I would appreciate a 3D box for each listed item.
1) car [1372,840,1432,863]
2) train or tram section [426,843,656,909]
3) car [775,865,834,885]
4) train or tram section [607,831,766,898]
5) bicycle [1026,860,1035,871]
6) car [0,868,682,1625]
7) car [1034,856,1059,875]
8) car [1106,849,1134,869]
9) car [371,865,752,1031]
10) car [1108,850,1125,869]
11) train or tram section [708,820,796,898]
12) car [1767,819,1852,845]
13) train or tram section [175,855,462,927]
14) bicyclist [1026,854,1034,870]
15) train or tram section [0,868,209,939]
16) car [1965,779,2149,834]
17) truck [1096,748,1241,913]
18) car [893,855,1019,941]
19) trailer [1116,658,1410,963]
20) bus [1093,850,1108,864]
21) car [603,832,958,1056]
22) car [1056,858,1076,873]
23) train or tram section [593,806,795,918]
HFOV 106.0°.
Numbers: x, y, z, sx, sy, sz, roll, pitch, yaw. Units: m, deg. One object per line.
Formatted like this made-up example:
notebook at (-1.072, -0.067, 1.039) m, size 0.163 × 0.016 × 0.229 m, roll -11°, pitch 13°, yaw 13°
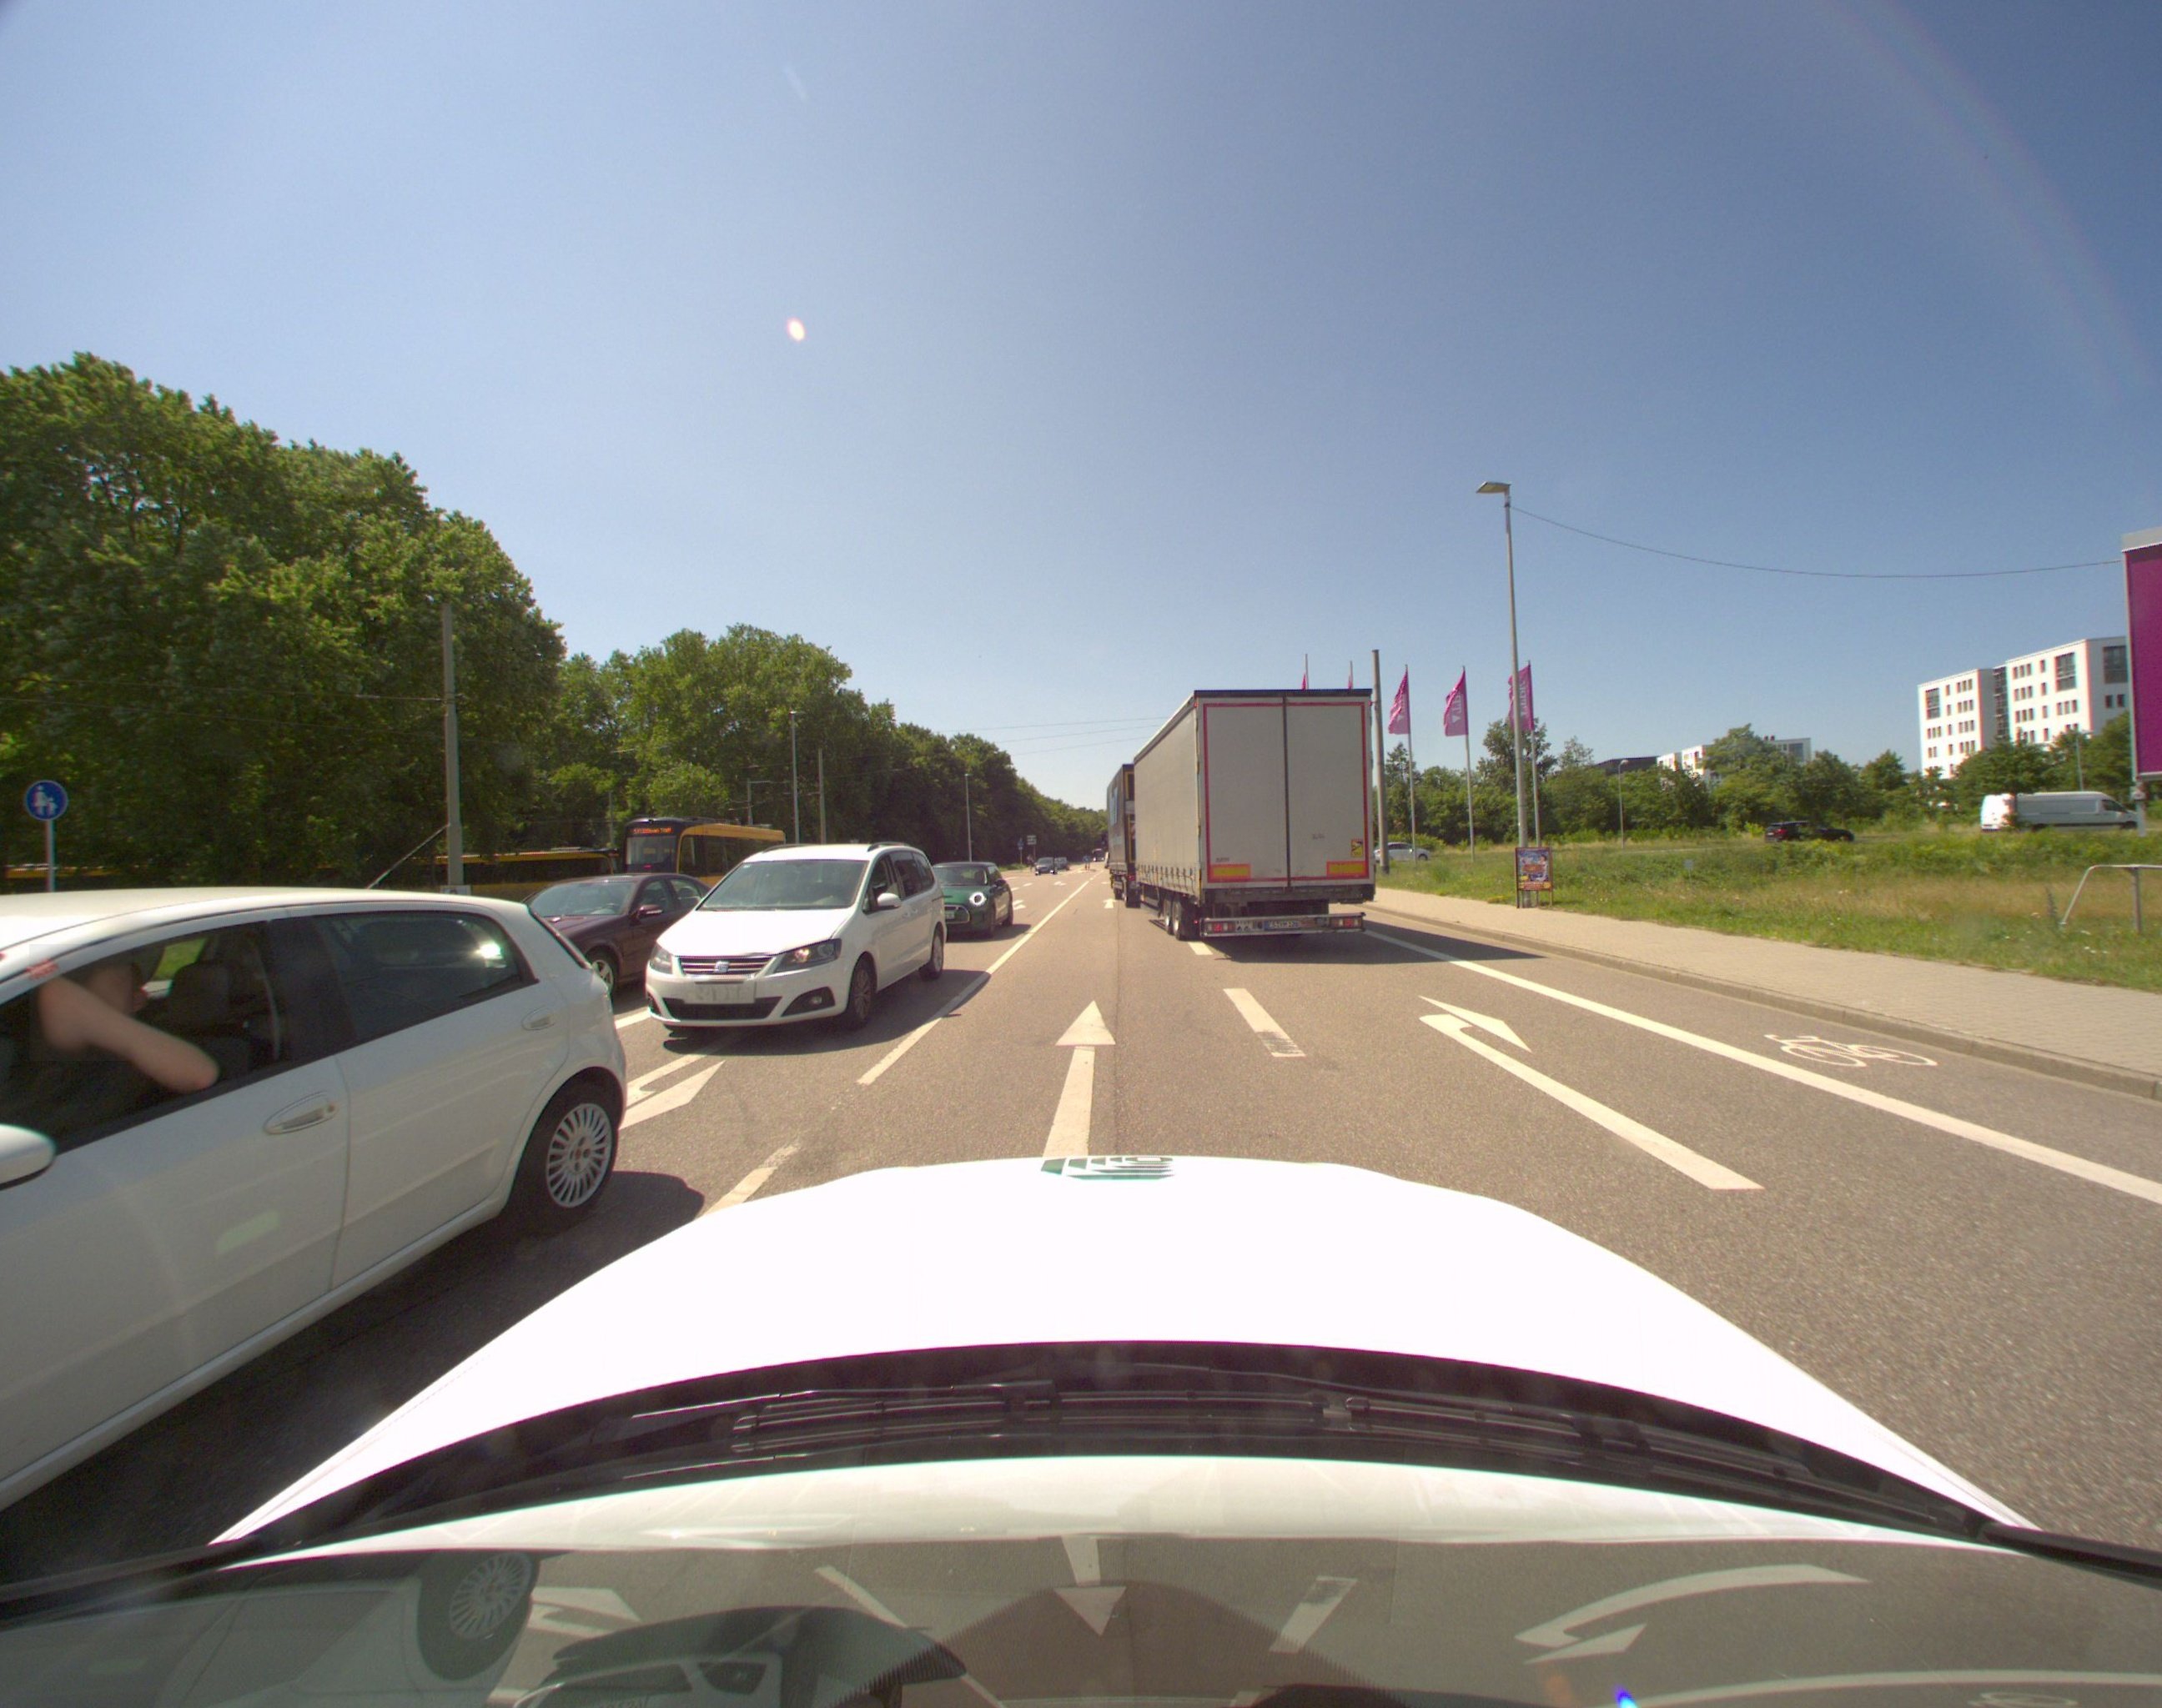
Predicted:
car at (22.009, -0.149, 55.941) m, size 3.591 × 1.533 × 1.712 m, roll -1°, pitch 0°, yaw 12°
train or tram section at (-38.800, 1.537, 58.875) m, size 14.111 × 3.759 × 3.024 m, roll -4°, pitch 0°, yaw -2°
car at (-22.437, 1.687, 66.124) m, size 4.271 × 1.417 × 1.672 m, roll -3°, pitch -2°, yaw 11°
train or tram section at (-26.928, 0.808, 55.038) m, size 13.865 × 3.759 × 3.046 m, roll -3°, pitch 0°, yaw 35°
bicycle at (-5.295, 1.193, 85.250) m, size 0.666 × 1.055 × 2.048 m, roll -1°, pitch 0°, yaw 4°
car at (-2.988, 0.804, 2.181) m, size 1.761 × 1.438 × 3.962 m, roll -1°, pitch 0°, yaw 2°
car at (-2.858, 0.980, 68.183) m, size 1.615 × 1.456 × 3.504 m, roll -4°, pitch 0°, yaw 3°
car at (3.581, 0.440, 74.227) m, size 2.014 × 1.632 × 4.010 m, roll -2°, pitch 0°, yaw 9°
car at (-5.878, 0.937, 9.986) m, size 1.753 × 1.457 × 4.287 m, roll -2°, pitch 0°, yaw 2°
car at (3.961, 0.582, 89.240) m, size 1.648 × 1.907 × 4.005 m, roll -2°, pitch 0°, yaw 4°
train or tram section at (-18.939, 0.385, 46.289) m, size 3.035 × 3.759 × 11.507 m, roll -4°, pitch 0°, yaw -29°
car at (45.307, -1.368, 50.692) m, size 3.595 × 1.533 × 1.710 m, roll -1°, pitch 0°, yaw 8°
train or tram section at (-51.917, 2.403, 56.200) m, size 14.201 × 3.759 × 3.005 m, roll -4°, pitch 0°, yaw -21°
bicyclist at (-5.306, 0.827, 85.162) m, size 0.662 × 1.706 × 0.770 m, roll -1°, pitch 0°, yaw 4°
train or tram section at (-63.443, 3.134, 51.041) m, size 11.467 × 3.759 × 2.999 m, roll -4°, pitch 0°, yaw -27°
car at (58.101, -2.773, 48.671) m, size 6.784 × 2.802 × 2.677 m, roll -2°, pitch -1°, yaw 12°
truck at (2.275, -0.606, 24.389) m, size 3.070 × 4.069 × 7.951 m, roll -1°, pitch 0°, yaw -3°
car at (-2.387, 0.795, 16.533) m, size 1.716 × 1.462 × 3.993 m, roll -2°, pitch 0°, yaw 3°
trailer at (2.695, -0.608, 15.932) m, size 3.070 × 4.069 × 9.798 m, roll -1°, pitch 0°, yaw -3°
bus at (5.085, 0.730, 209.424) m, size 2.736 × 3.045 × 11.956 m, roll -5°, pitch 0°, yaw 5°
car at (-2.746, 0.702, 8.845) m, size 1.804 × 1.723 × 4.834 m, roll -2°, pitch 0°, yaw 3°
car at (-1.638, 1.210, 88.155) m, size 1.736 × 1.405 × 4.445 m, roll -2°, pitch 1°, yaw 4°
train or tram section at (-15.992, 0.264, 35.376) m, size 3.010 × 3.759 × 12.977 m, roll -4°, pitch 0°, yaw -3°
